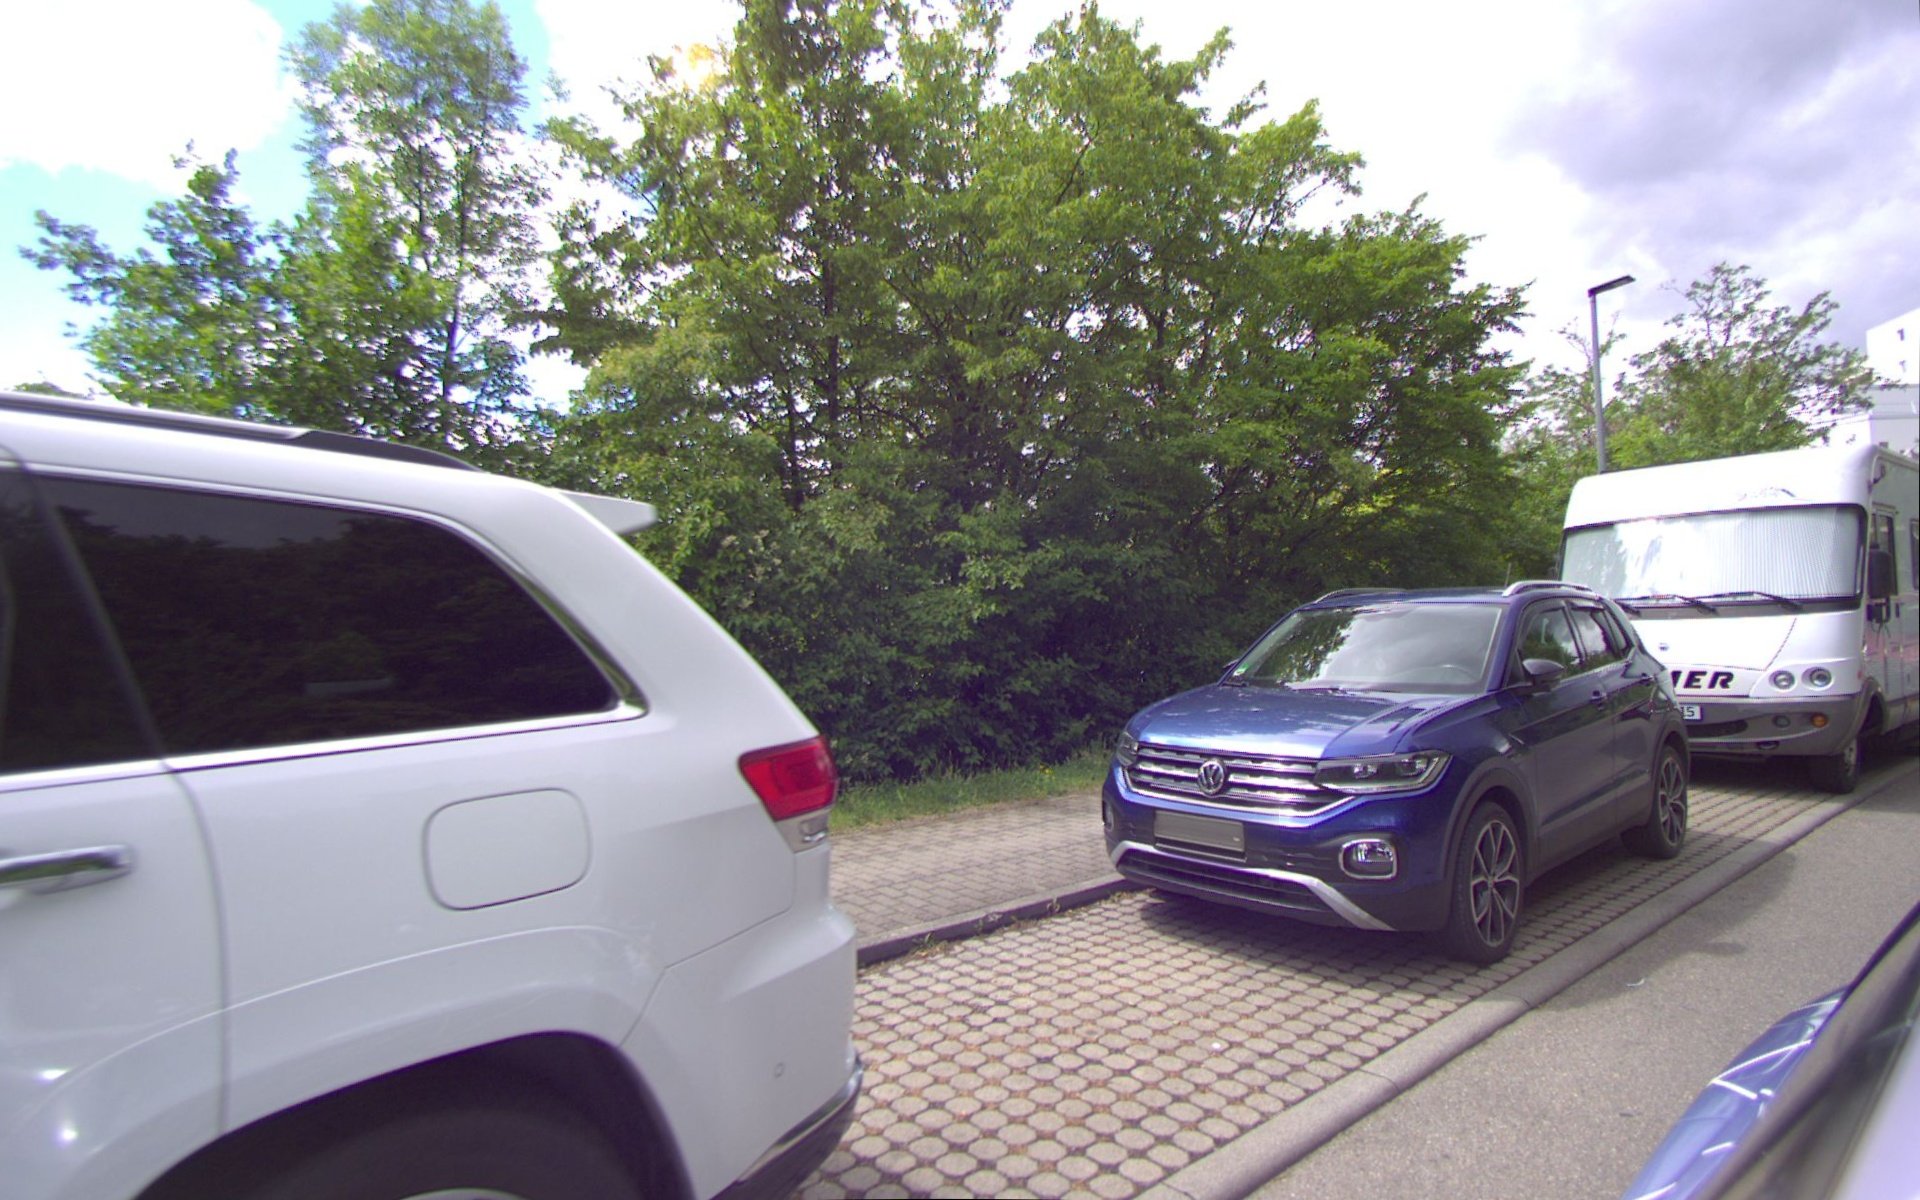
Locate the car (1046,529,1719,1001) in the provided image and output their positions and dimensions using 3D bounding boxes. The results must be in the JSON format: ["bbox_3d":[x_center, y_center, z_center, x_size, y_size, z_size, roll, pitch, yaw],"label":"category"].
[{"bbox_3d":[2.459,0.612,5.420,3.929,1.612,1.713,1,-3,-41],"label":"car"}]

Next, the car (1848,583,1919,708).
[{"bbox_3d":[13.907,0.545,13.929,3.817,1.538,1.733,-2,0,-36],"label":"car"}]

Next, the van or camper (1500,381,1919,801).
[{"bbox_3d":[7.935,-0.047,9.744,6.035,2.906,2.338,-1,-3,-36],"label":"van or camper"}]

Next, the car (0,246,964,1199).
[{"bbox_3d":[-2.298,0.523,1.095,4.499,1.711,1.873,1,-3,-42],"label":"car"}]
